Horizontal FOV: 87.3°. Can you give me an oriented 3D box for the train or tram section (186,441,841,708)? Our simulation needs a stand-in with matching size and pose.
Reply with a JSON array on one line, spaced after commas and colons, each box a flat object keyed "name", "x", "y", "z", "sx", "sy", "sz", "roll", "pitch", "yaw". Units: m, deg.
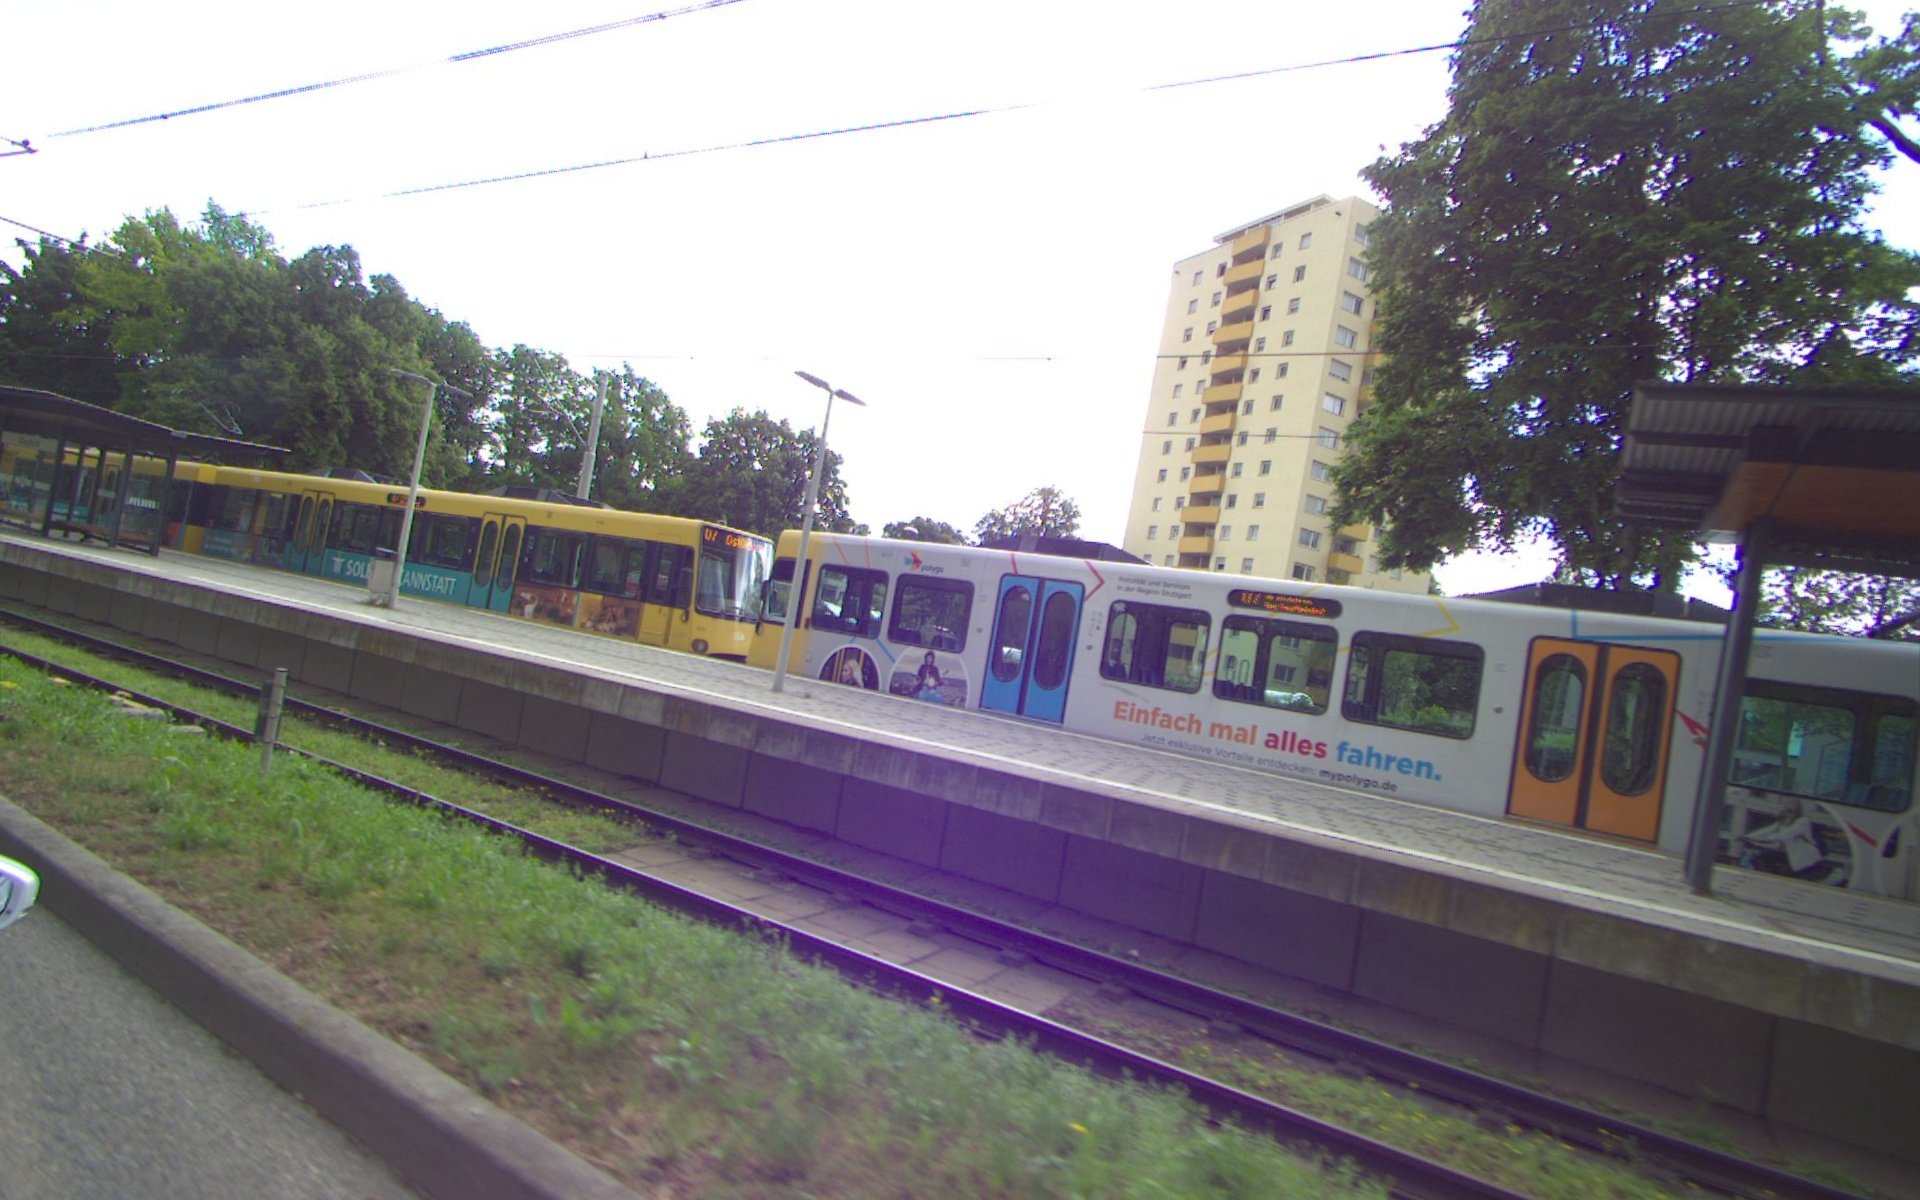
[{"name": "train or tram section", "x": -11.706, "y": -1.065, "z": 23.956, "sx": 19.176, "sy": 3.777, "sz": 2.823, "roll": 8, "pitch": -3, "yaw": 29}]

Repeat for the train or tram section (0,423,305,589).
[{"name": "train or tram section", "x": -28.803, "y": -3.518, "z": 33.178, "sx": 19.173, "sy": 3.627, "sz": 2.824, "roll": 8, "pitch": -3, "yaw": 28}]

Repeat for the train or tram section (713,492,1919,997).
[{"name": "train or tram section", "x": 4.438, "y": 1.246, "z": 14.248, "sx": 18.618, "sy": 3.839, "sz": 2.821, "roll": 8, "pitch": -3, "yaw": 32}]

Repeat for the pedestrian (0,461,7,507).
[{"name": "pedestrian", "x": -24.613, "y": -2.769, "z": 25.402, "sx": 0.621, "sy": 1.591, "sz": 0.656, "roll": 9, "pitch": -2, "yaw": -45}]
